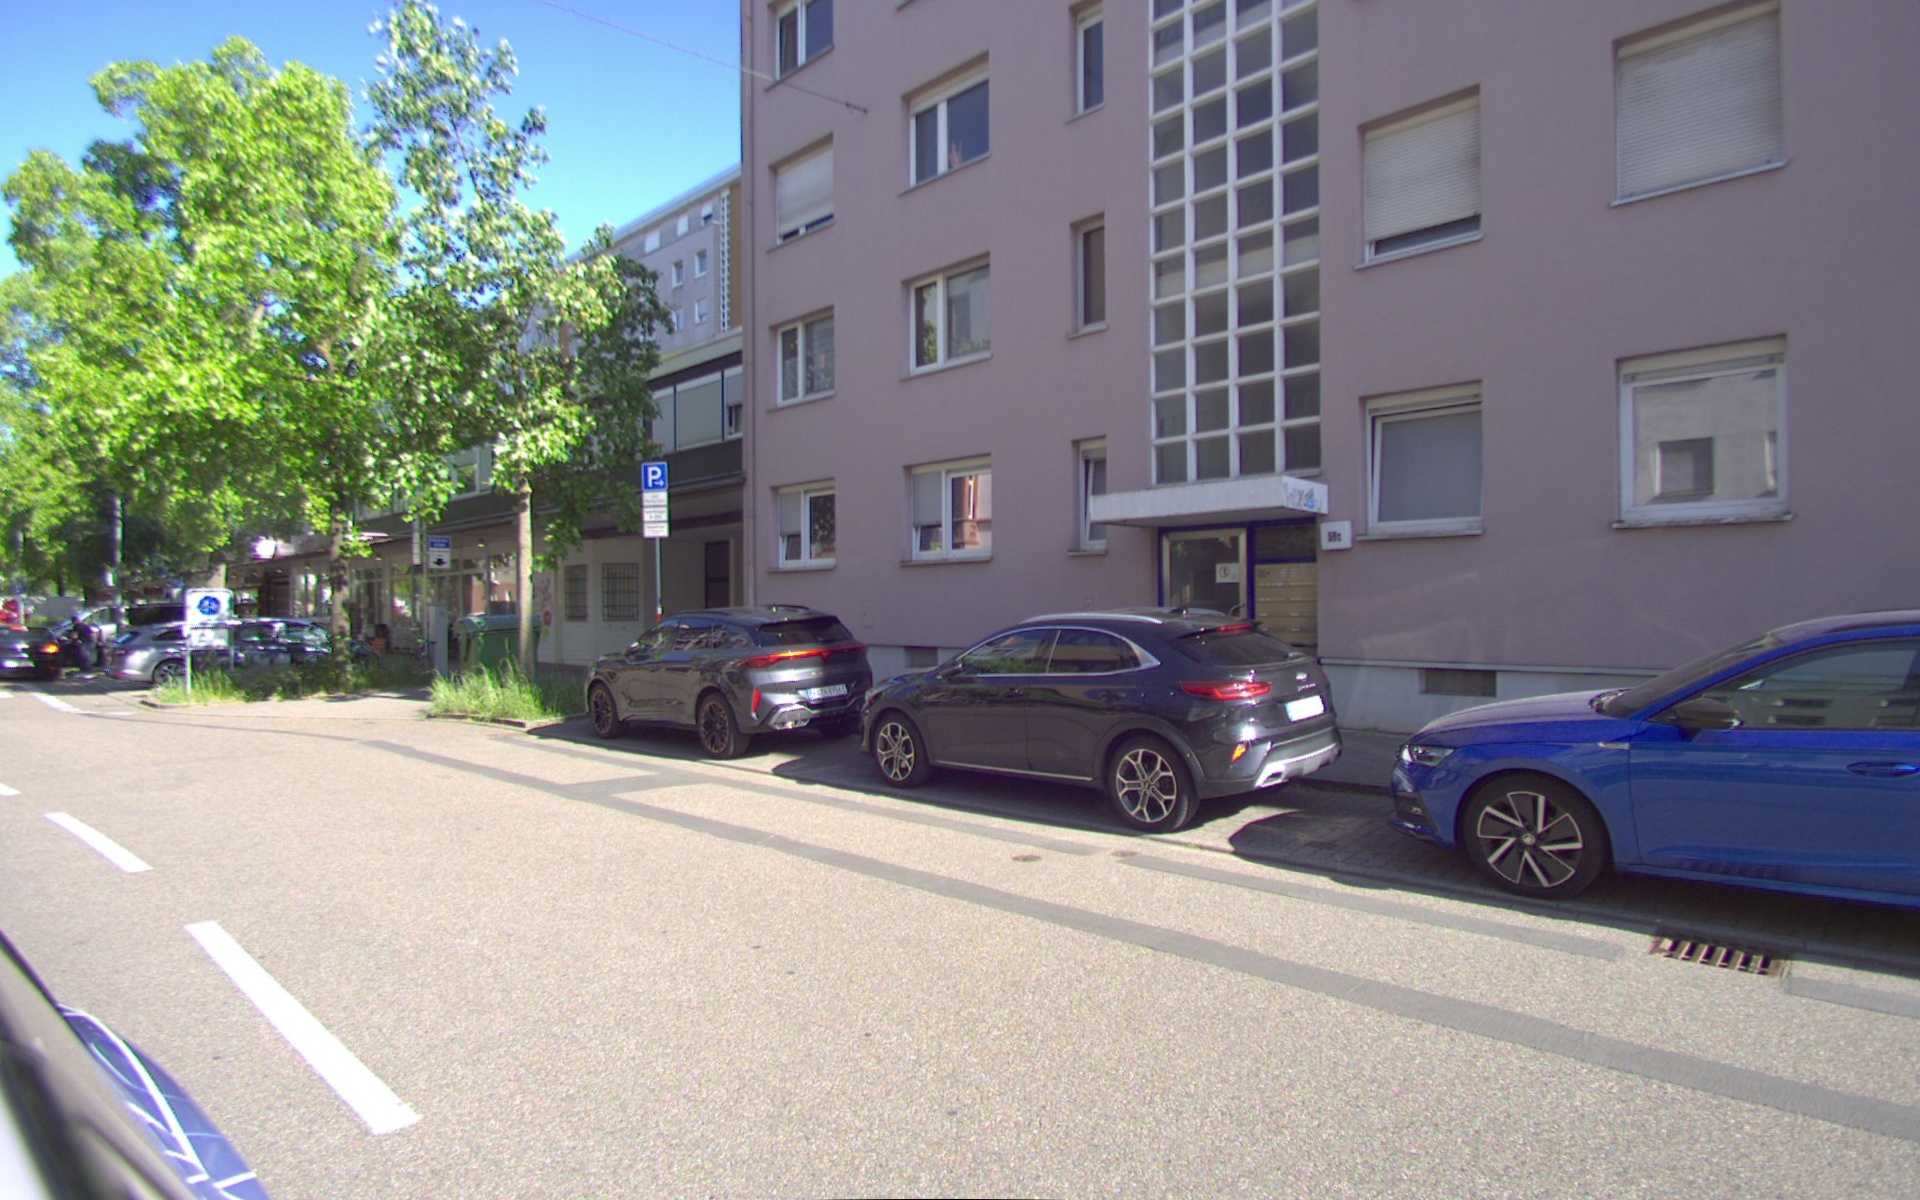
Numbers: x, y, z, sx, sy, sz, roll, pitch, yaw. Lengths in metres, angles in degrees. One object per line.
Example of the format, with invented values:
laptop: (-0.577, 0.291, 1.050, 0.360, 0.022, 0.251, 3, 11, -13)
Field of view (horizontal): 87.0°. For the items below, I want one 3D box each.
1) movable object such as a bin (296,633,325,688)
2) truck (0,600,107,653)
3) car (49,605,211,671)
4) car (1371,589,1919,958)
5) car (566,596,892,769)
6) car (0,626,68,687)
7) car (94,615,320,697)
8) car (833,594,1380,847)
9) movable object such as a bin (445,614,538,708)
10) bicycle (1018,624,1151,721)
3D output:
movable object such as a bin: (-14.918, 1.374, 23.247, 0.410, 1.234, 0.482, -2, -1, 43)
truck: (-47.313, 1.339, 51.786, 1.994, 2.615, 5.262, -1, -1, 33)
car: (-27.402, 1.196, 33.471, 2.000, 2.047, 3.943, -2, -1, 43)
car: (4.602, 0.713, 4.767, 4.612, 1.476, 1.699, -2, 1, 43)
car: (-2.890, 0.849, 12.086, 4.143, 1.604, 1.797, -1, 2, 45)
car: (-24.505, 1.409, 26.223, 1.841, 1.475, 4.002, 1, -2, -45)
car: (-17.396, 1.223, 23.489, 2.000, 1.687, 3.943, -1, -1, 43)
car: (0.991, 0.784, 8.425, 4.247, 1.519, 1.797, -1, 1, 45)
movable object such as a bin: (-8.206, 1.037, 17.736, 1.229, 1.557, 1.020, 0, -1, -42)
bicycle: (1.488, 0.845, 12.297, 1.650, 1.084, 0.386, -1, 3, 44)
